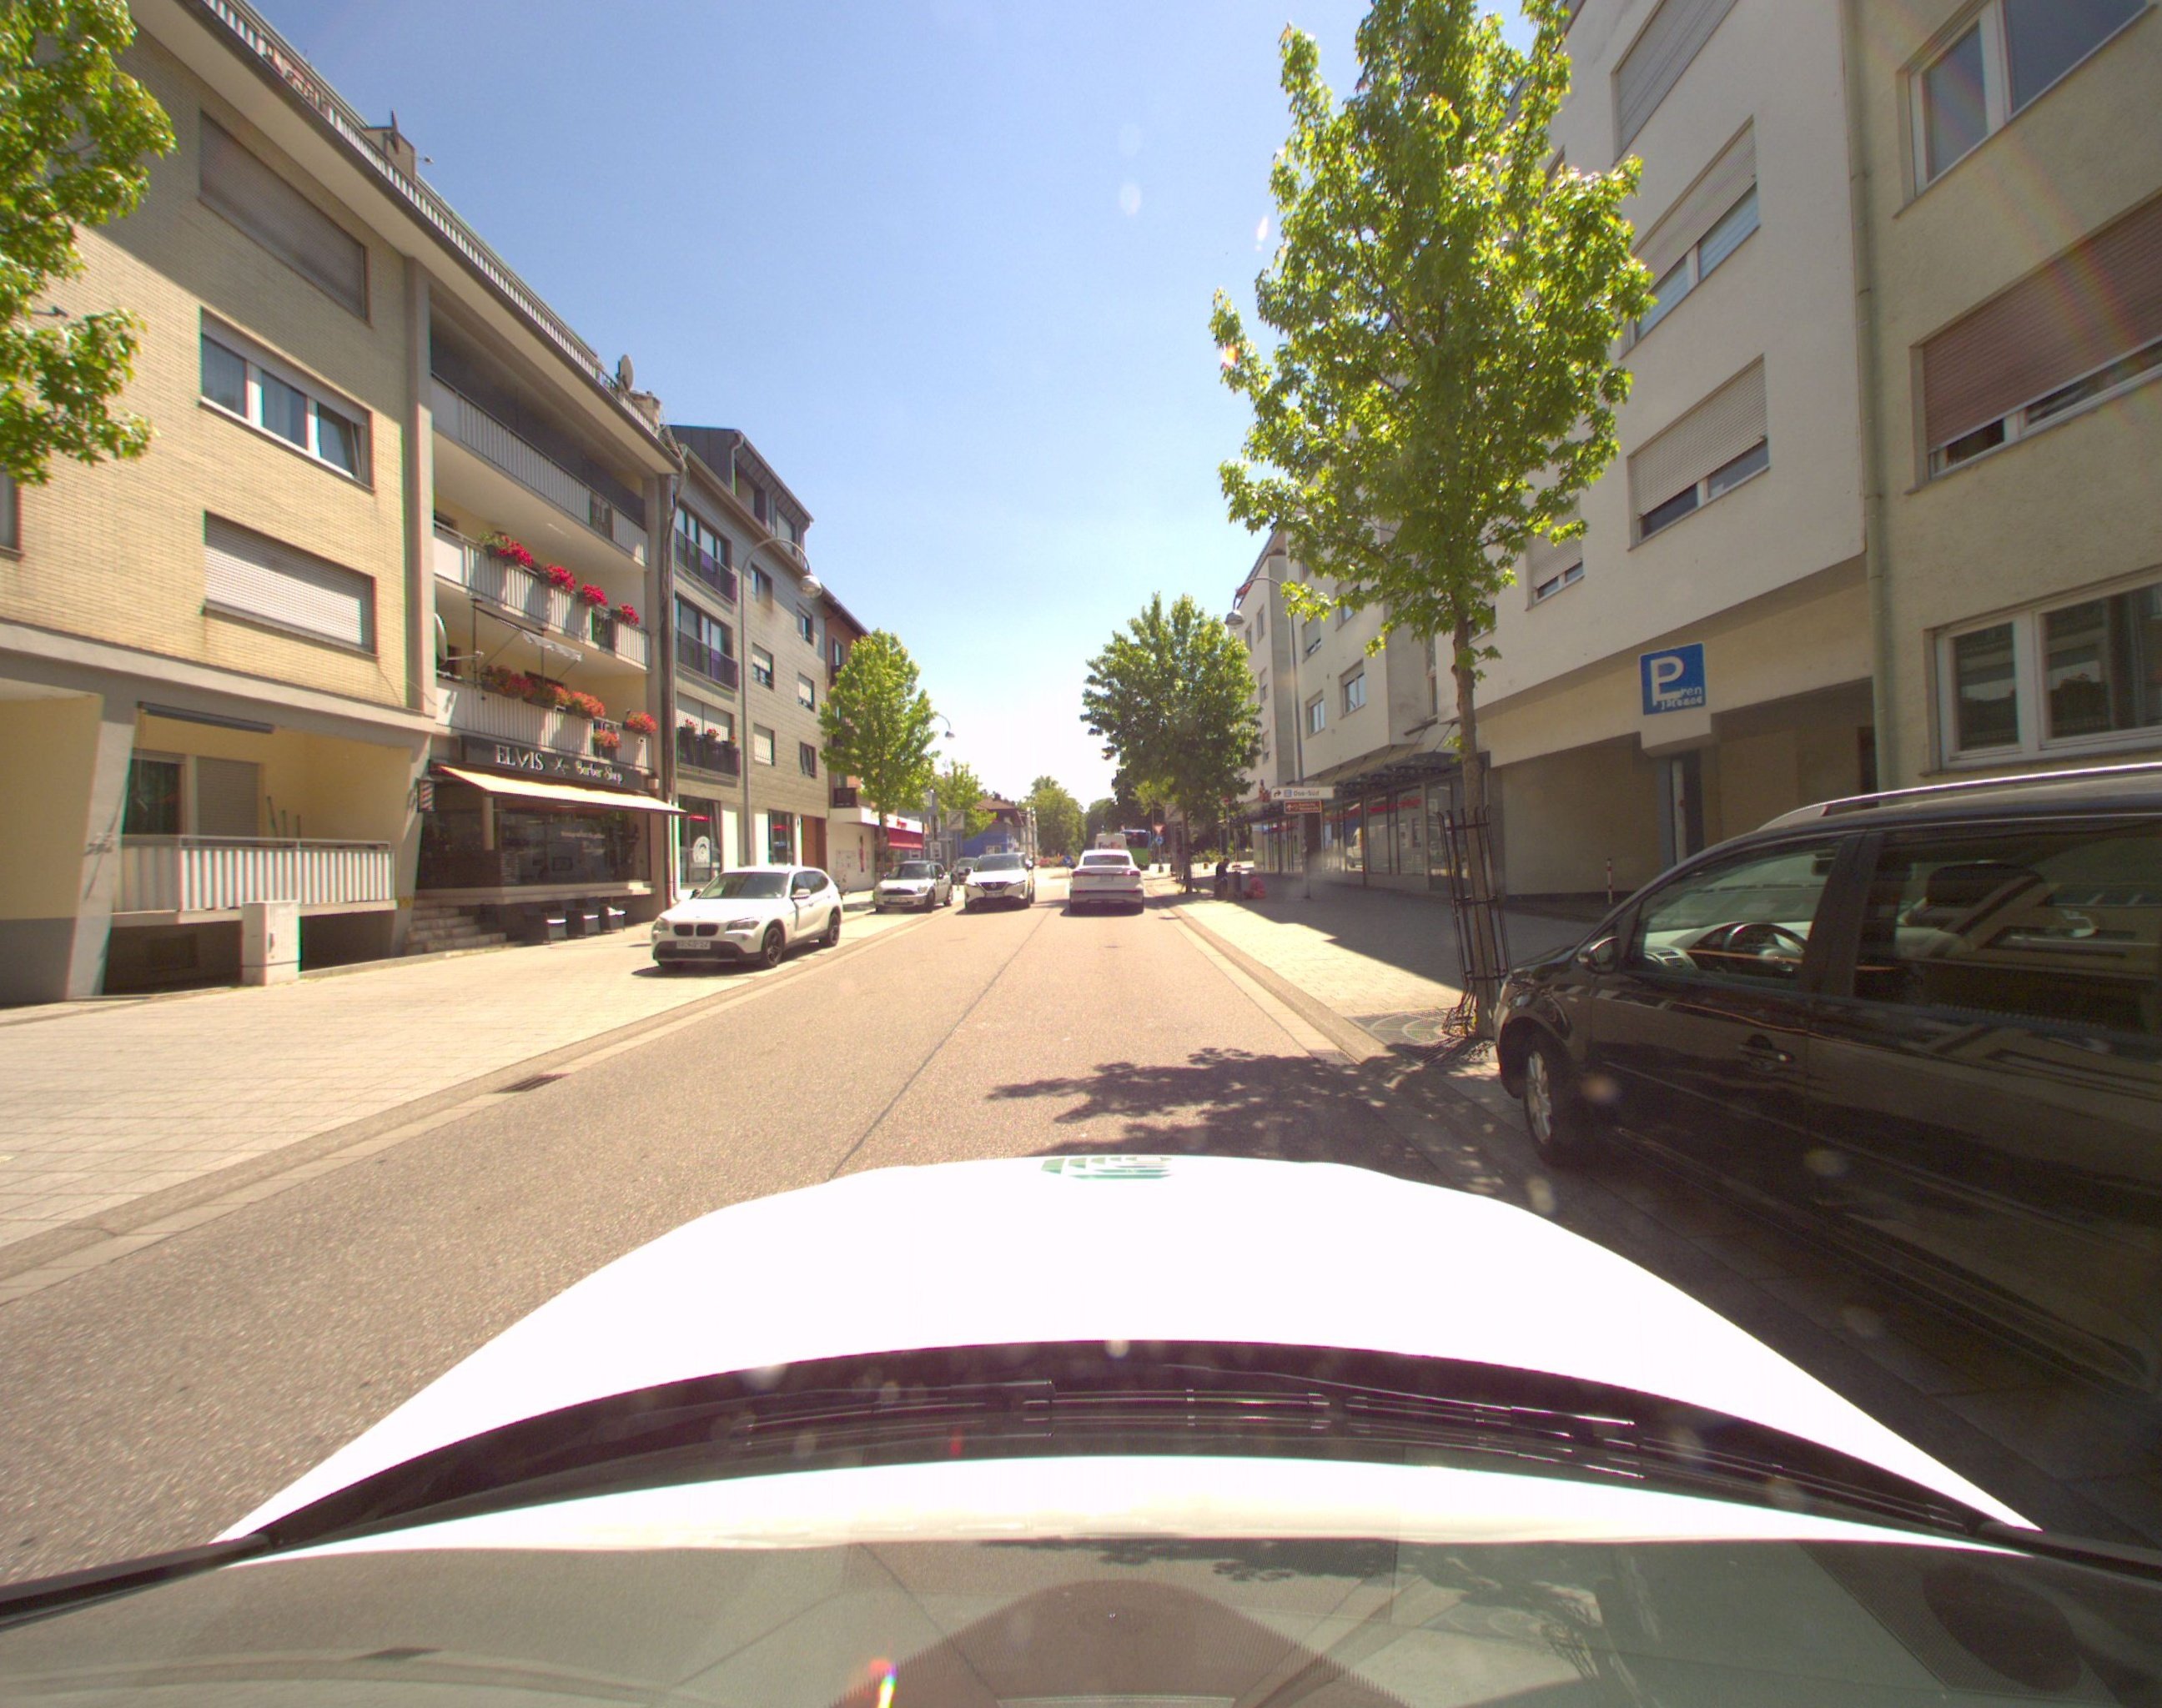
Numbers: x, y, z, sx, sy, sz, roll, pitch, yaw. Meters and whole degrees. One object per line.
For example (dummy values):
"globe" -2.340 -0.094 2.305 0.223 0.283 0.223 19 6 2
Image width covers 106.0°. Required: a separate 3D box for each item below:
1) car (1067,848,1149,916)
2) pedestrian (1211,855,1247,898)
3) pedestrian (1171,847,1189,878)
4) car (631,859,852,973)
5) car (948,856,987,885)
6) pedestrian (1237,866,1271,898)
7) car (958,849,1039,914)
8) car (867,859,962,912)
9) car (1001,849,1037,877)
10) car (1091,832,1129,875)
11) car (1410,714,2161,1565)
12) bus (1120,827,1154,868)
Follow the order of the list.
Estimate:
"car" 0.671 0.695 21.969 1.987 1.633 3.999 -1 0 0
"pedestrian" 4.425 0.672 24.388 0.903 1.236 0.648 -2 0 0
"pedestrian" 4.933 0.421 40.694 0.582 1.502 0.715 -2 0 -17
"car" -5.478 0.902 13.847 1.745 1.618 4.403 0 0 2
"car" -6.361 0.893 45.901 1.834 1.495 3.994 -2 0 -4
"pedestrian" 5.077 0.806 23.908 0.901 0.879 0.649 -2 0 6
"car" -2.374 0.769 24.394 1.850 1.692 4.150 -3 0 1
"car" -4.930 0.893 24.711 1.745 1.453 4.404 0 0 3
"car" -4.163 0.599 54.435 1.867 1.757 3.982 0 -1 -13
"car" 1.731 -0.010 48.816 2.148 2.442 5.285 0 -1 1
"car" 2.990 0.517 2.646 1.851 1.674 4.534 -4 0 -1
"bus" 4.576 -0.455 66.861 2.649 3.221 7.308 0 -1 4
